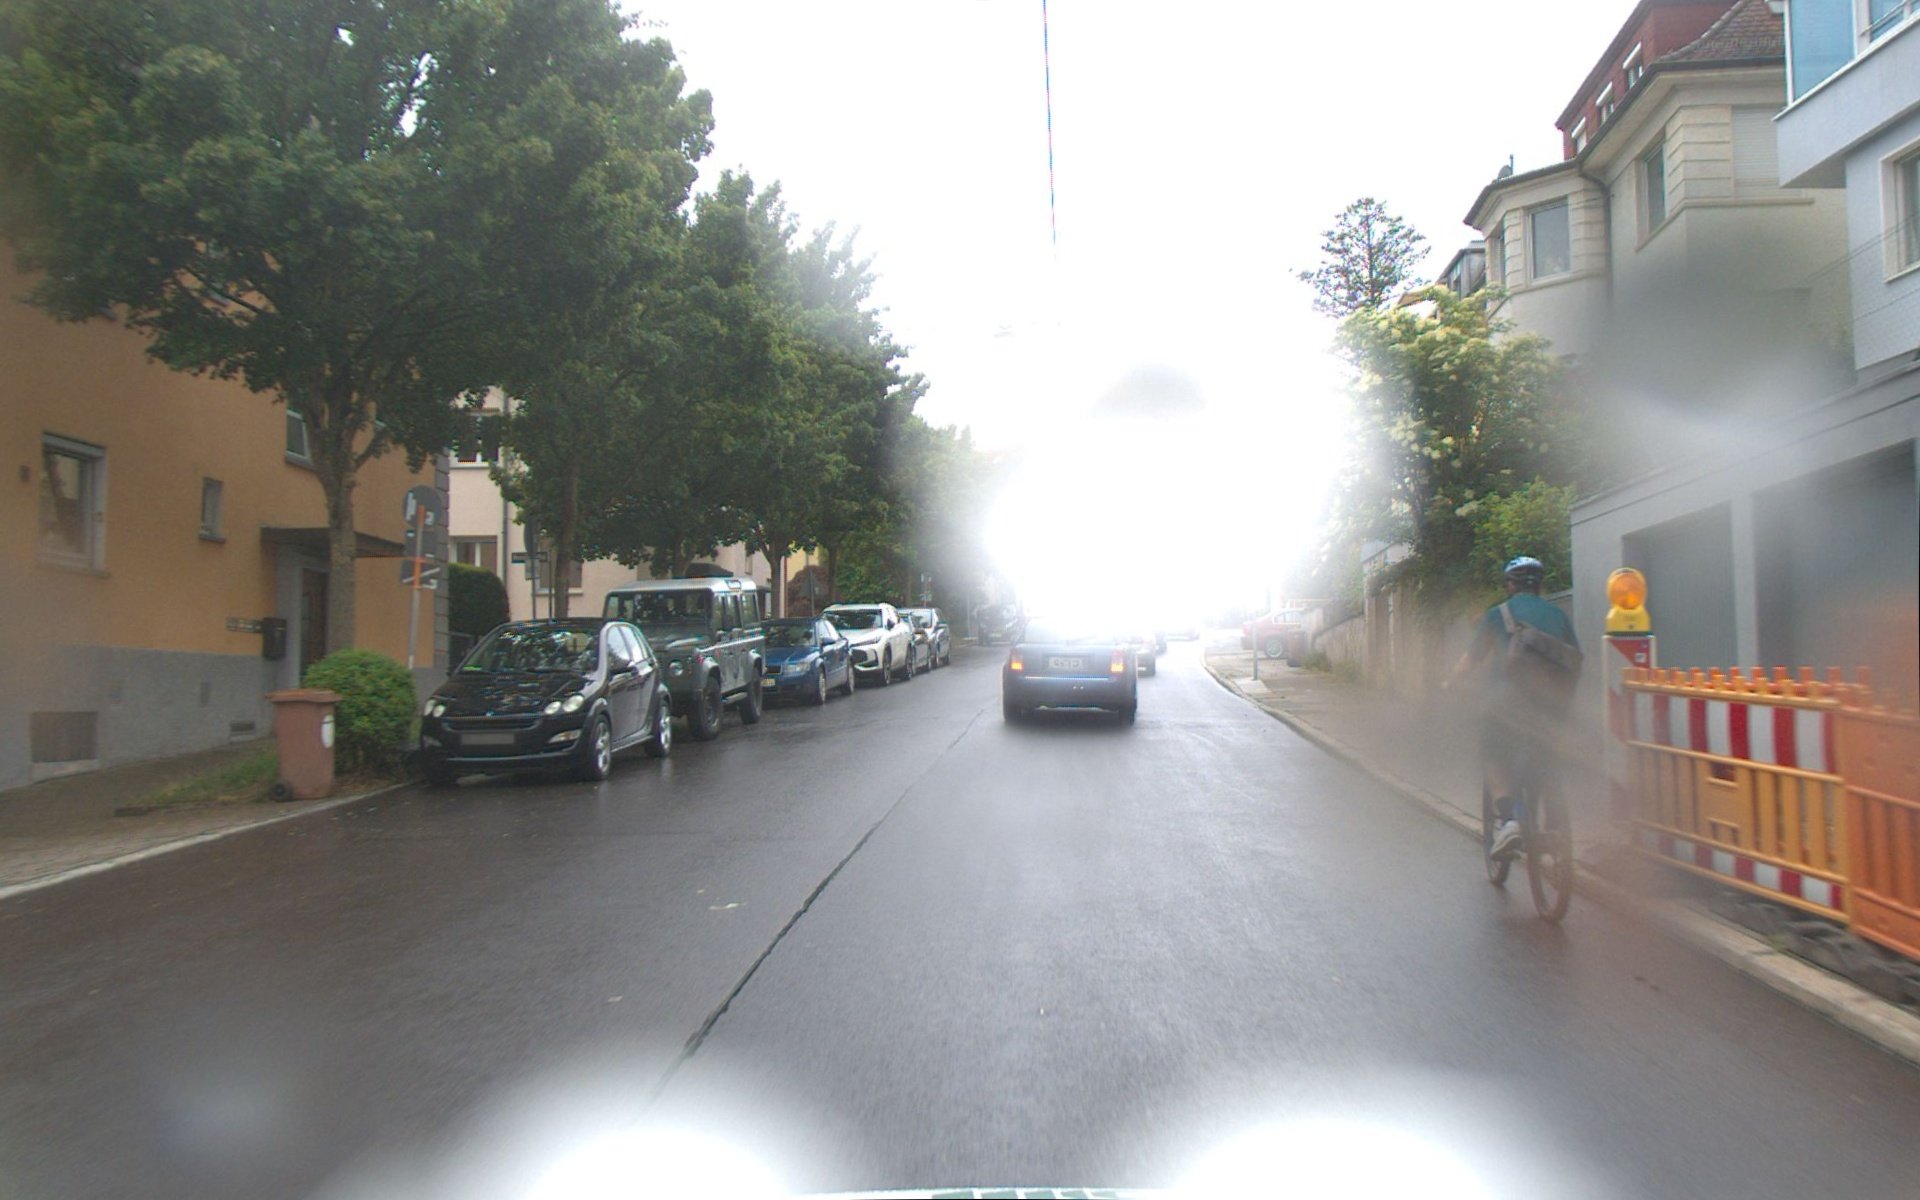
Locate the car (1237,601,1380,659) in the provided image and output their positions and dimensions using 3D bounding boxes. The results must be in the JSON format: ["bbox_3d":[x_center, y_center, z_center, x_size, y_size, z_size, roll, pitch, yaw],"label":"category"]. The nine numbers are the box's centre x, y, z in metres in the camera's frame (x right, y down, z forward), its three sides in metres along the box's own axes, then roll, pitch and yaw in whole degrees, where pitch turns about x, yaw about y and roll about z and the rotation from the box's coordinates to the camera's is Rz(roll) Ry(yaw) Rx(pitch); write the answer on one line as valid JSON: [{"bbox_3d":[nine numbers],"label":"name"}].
[{"bbox_3d":[9.969,0.853,47.512,3.902,1.492,1.741,-2,1,11],"label":"car"}]

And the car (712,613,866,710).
[{"bbox_3d":[-2.899,1.016,29.058,1.730,1.411,4.637,-2,1,6],"label":"car"}]

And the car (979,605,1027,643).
[{"bbox_3d":[1.726,0.918,64.962,1.443,1.318,3.224,2,1,9],"label":"car"}]

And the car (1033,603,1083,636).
[{"bbox_3d":[4.989,0.953,83.685,1.697,1.492,4.003,2,1,16],"label":"car"}]

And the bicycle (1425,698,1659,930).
[{"bbox_3d":[2.958,1.050,8.581,0.714,0.981,1.671,1,0,4],"label":"bicycle"}]

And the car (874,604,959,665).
[{"bbox_3d":[-1.152,0.939,45.647,1.730,1.566,4.010,-2,-1,7],"label":"car"}]

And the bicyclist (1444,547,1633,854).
[{"bbox_3d":[2.962,0.494,8.547,0.710,1.498,0.886,0,0,4],"label":"bicyclist"}]

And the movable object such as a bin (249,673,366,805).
[{"bbox_3d":[-5.617,1.183,14.265,0.669,1.028,0.708,-4,0,-2],"label":"movable object such as a bin"}]

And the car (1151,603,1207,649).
[{"bbox_3d":[9.485,1.102,71.514,1.697,1.799,4.238,2,1,17],"label":"car"}]

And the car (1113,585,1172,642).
[{"bbox_3d":[6.386,0.447,57.692,1.696,1.799,4.239,2,1,10],"label":"car"}]

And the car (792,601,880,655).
[{"bbox_3d":[-5.002,1.120,66.872,3.143,1.770,1.481,-7,0,8],"label":"car"}]

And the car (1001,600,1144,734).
[{"bbox_3d":[1.603,0.825,22.345,1.697,1.492,4.003,2,1,7],"label":"car"}]

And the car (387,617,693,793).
[{"bbox_3d":[-4.016,0.942,16.594,1.731,1.461,4.349,-2,0,3],"label":"car"}]

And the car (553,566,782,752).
[{"bbox_3d":[-3.689,0.672,21.785,1.754,2.085,4.784,-3,0,4],"label":"car"}]

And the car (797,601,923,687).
[{"bbox_3d":[-2.030,0.900,35.056,1.730,1.655,4.693,-2,-1,8],"label":"car"}]

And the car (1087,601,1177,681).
[{"bbox_3d":[4.207,0.939,39.972,1.933,1.663,4.239,2,1,9],"label":"car"}]

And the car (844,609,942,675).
[{"bbox_3d":[-1.581,1.014,40.458,1.730,1.499,4.010,-2,-1,7],"label":"car"}]
